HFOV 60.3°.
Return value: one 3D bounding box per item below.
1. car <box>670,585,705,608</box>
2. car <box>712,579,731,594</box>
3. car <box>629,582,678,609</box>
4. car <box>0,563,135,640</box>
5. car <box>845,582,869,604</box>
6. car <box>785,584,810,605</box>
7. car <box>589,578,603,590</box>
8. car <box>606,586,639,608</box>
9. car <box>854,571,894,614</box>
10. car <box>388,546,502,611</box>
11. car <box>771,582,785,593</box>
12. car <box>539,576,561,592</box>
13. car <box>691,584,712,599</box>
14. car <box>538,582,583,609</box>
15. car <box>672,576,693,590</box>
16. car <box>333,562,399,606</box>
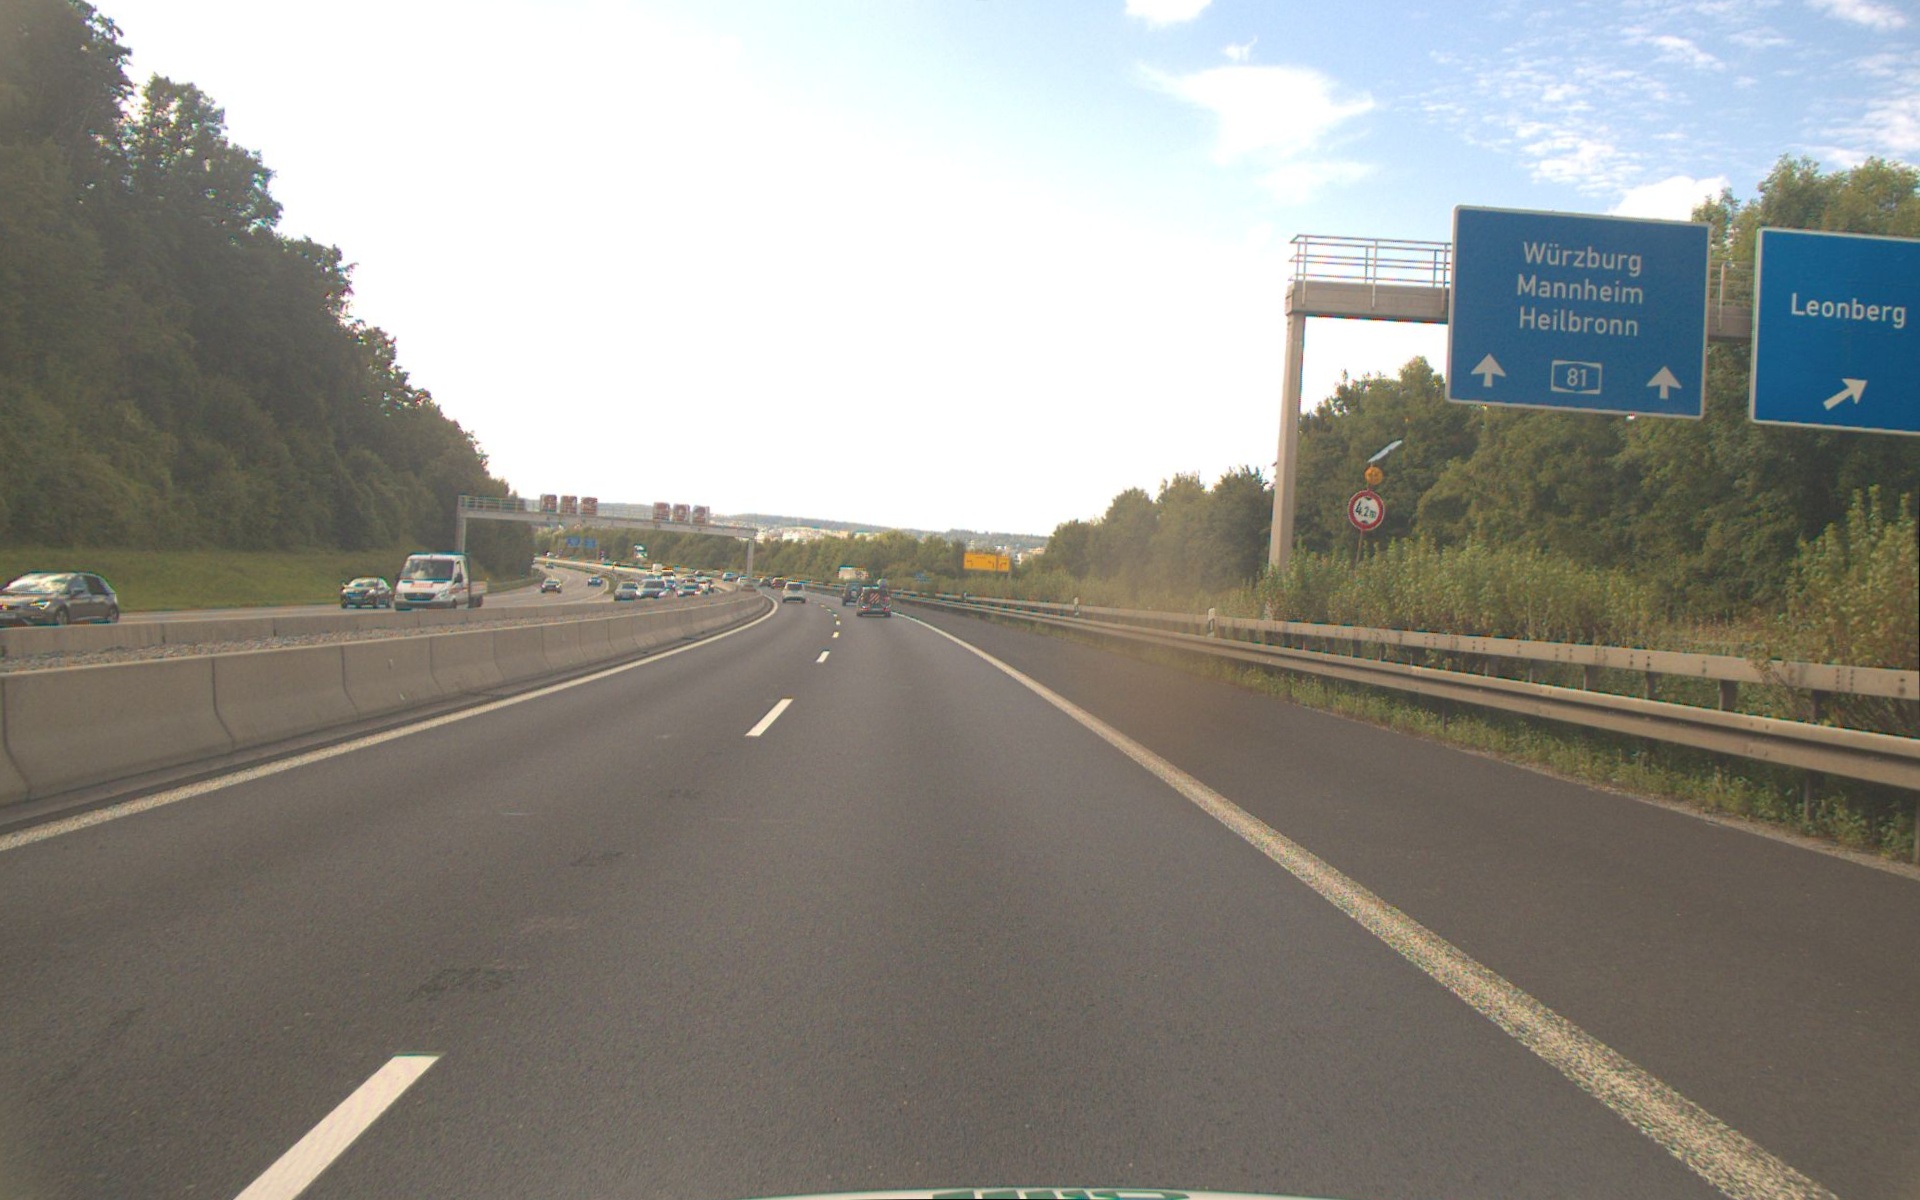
[{"bbox_3d":[-20.083,-0.264,122.126,1.954,1.655,4.775,1,0,-3],"label":"car"},{"bbox_3d":[-27.651,-1.565,191.801,1.839,1.727,4.311,1,0,-4],"label":"car"},{"bbox_3d":[-17.928,-0.275,97.098,1.943,1.536,5.958,1,0,-2],"label":"car"},{"bbox_3d":[-21.111,0.020,38.749,1.692,1.668,4.188,1,0,-4],"label":"car"},{"bbox_3d":[-8.205,-0.555,131.379,1.557,1.624,4.088,1,1,-8],"label":"car"},{"bbox_3d":[-13.773,-0.483,140.180,1.956,1.713,3.994,1,0,-7],"label":"car"},{"bbox_3d":[-51.754,-2.245,234.994,1.772,1.601,4.546,1,0,-11],"label":"car"},{"bbox_3d":[-24.286,-0.207,119.104,1.877,1.536,3.996,1,0,-5],"label":"car"},{"bbox_3d":[-4.651,-0.442,88.892,1.991,2.189,3.997,1,1,-5],"label":"car"},{"bbox_3d":[-18.593,-0.756,60.175,2.157,2.167,8.069,1,0,-4],"label":"car"},{"bbox_3d":[-27.532,-1.935,250.541,1.577,1.585,3.986,1,0,-13],"label":"car"},{"bbox_3d":[-41.029,-1.634,165.589,1.706,1.536,3.993,1,0,-8],"label":"car"},{"bbox_3d":[-27.048,-0.884,173.165,1.726,1.486,4.292,1,0,-4],"label":"car"},{"bbox_3d":[-23.152,-0.277,96.022,1.877,1.536,3.997,1,0,-4],"label":"car"},{"bbox_3d":[-32.877,-1.980,196.029,1.954,1.566,4.735,1,1,-4],"label":"car"},{"bbox_3d":[-28.737,-0.775,80.192,1.954,2.070,3.997,1,0,-4],"label":"car"}]
